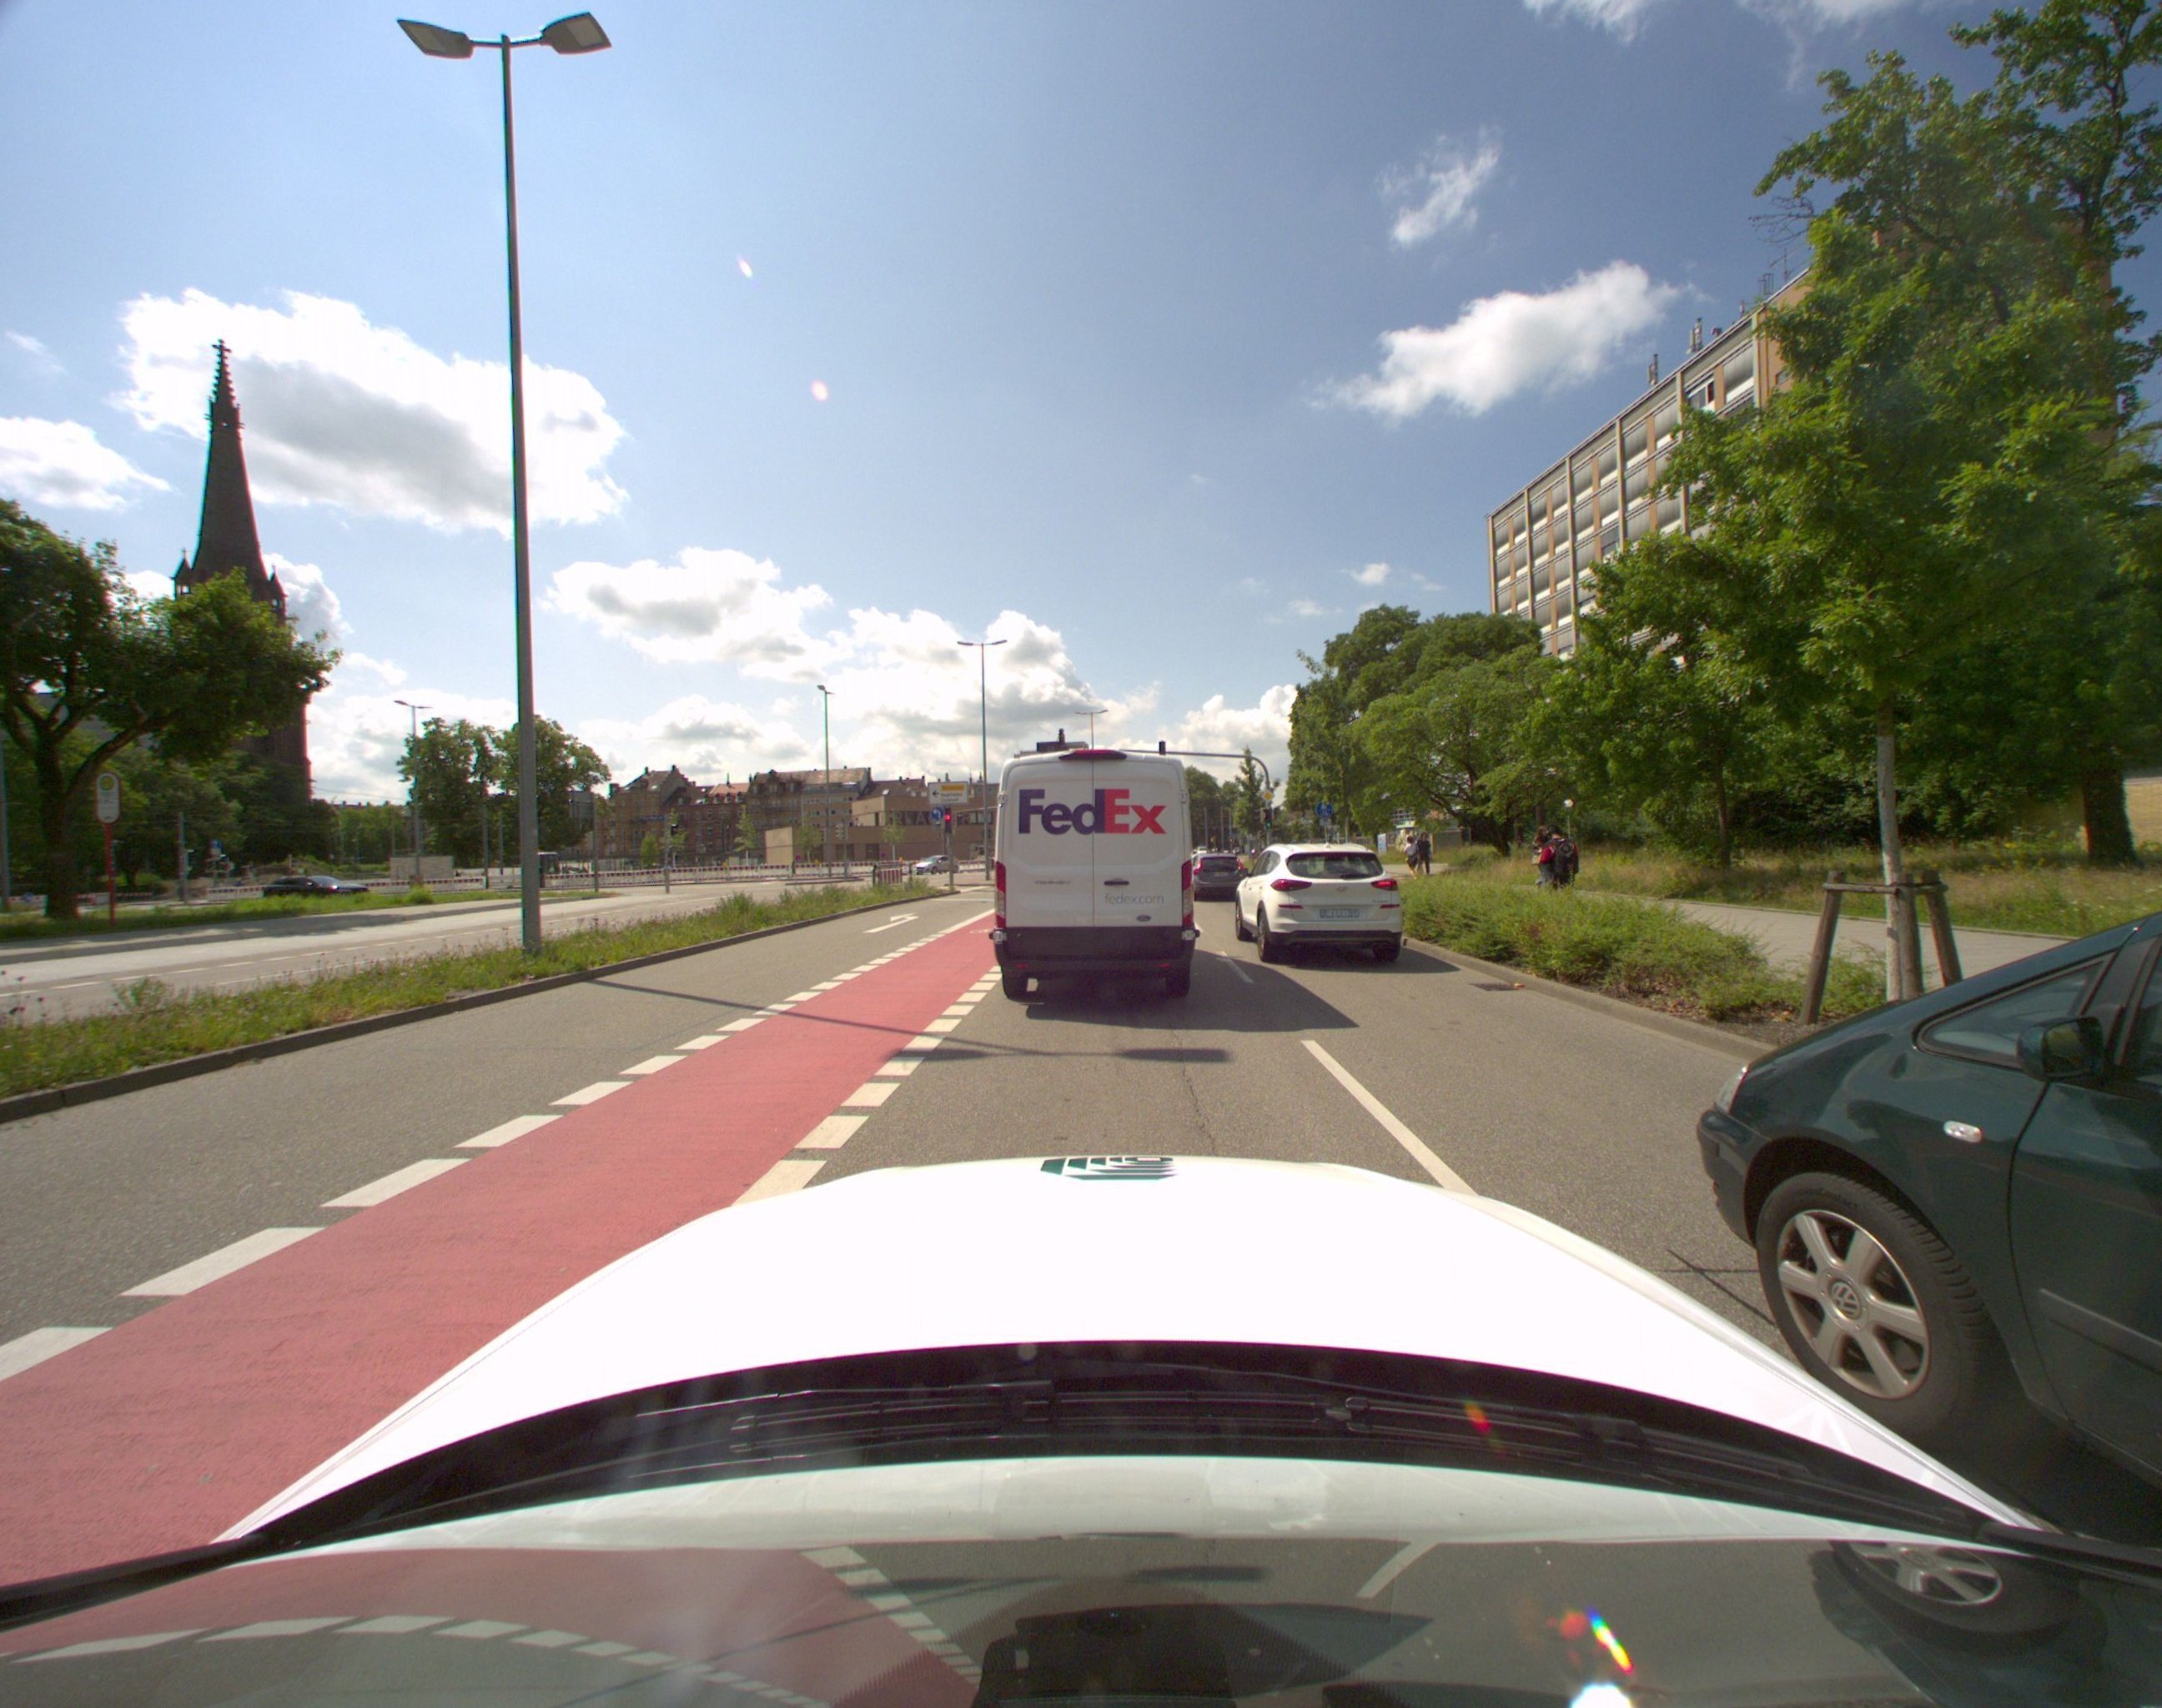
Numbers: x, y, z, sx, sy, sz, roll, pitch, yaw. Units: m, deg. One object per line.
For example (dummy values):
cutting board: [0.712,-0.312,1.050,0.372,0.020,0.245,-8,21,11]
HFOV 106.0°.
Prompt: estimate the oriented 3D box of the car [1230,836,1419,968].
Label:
car: [3.507,0.601,12.588,1.873,1.641,4.237,-2,0,4]

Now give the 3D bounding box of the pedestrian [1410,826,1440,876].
pedestrian: [12.597,-0.117,29.810,0.746,1.750,0.667,-3,0,1]

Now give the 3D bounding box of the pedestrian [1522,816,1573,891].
pedestrian: [11.397,-0.016,19.925,0.664,1.750,0.878,-3,0,1]

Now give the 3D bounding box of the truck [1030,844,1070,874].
truck: [-3.284,0.529,88.033,1.978,3.067,7.362,-1,-1,16]

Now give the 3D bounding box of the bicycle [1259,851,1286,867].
bicycle: [13.812,0.349,58.654,1.799,1.050,0.593,-4,-2,8]

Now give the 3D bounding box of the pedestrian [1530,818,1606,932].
pedestrian: [7.905,0.326,13.252,0.664,1.750,0.848,-3,0,1]

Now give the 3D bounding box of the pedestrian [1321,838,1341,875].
pedestrian: [11.904,0.114,38.838,0.665,1.746,0.608,-3,0,-4]

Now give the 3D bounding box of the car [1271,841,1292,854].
car: [26.519,-0.836,107.600,1.863,1.641,3.981,-2,0,27]

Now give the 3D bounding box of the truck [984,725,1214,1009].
truck: [0.257,0.126,10.607,2.129,2.640,5.920,-1,0,2]

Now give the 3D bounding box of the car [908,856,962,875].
car: [-11.423,0.889,64.048,1.974,1.508,4.042,-1,-1,32]

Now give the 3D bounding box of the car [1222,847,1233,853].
car: [38.550,-0.962,214.201,1.976,1.574,4.201,-1,-1,23]

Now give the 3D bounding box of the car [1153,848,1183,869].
car: [6.405,0.305,59.416,1.869,1.506,4.167,-1,0,10]

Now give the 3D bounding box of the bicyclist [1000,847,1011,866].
bicyclist: [-6.483,0.236,70.051,0.772,1.618,0.844,-2,0,5]

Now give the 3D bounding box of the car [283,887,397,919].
car: [-41.382,2.728,45.554,4.480,1.486,2.000,-2,0,1]

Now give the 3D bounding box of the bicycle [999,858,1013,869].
bicycle: [-6.455,0.785,70.120,0.772,0.889,2.111,-2,0,5]

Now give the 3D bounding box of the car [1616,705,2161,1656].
car: [2.830,0.601,0.833,1.787,1.723,4.450,0,0,2]

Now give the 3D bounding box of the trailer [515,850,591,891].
trailer: [-39.431,1.193,60.928,1.974,2.914,4.393,-1,-1,38]

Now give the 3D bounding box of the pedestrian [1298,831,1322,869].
pedestrian: [10.874,-0.193,38.636,0.748,1.777,0.880,-3,0,-4]

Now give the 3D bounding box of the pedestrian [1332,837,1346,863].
pedestrian: [17.728,-0.296,56.024,0.745,1.752,0.611,-3,0,8]

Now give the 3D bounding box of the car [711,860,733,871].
car: [-80.697,2.526,183.005,4.084,2.343,2.004,-1,-1,8]

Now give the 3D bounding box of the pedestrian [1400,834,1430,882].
pedestrian: [11.327,0.135,27.644,0.664,1.596,0.648,-3,0,1]

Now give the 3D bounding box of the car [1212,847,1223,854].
car: [36.132,-0.934,215.270,1.976,1.574,4.201,-1,-1,23]

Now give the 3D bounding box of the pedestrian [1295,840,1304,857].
pedestrian: [21.243,-0.515,79.194,0.752,1.589,0.762,0,-1,4]

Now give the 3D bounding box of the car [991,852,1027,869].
car: [-6.868,0.584,77.647,1.978,1.486,3.923,-2,0,18]

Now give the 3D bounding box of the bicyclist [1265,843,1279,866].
bicyclist: [13.775,0.065,58.664,0.823,1.601,0.581,-4,-2,9]

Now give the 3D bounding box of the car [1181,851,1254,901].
car: [4.259,0.638,25.973,1.906,1.420,3.922,-2,0,4]
